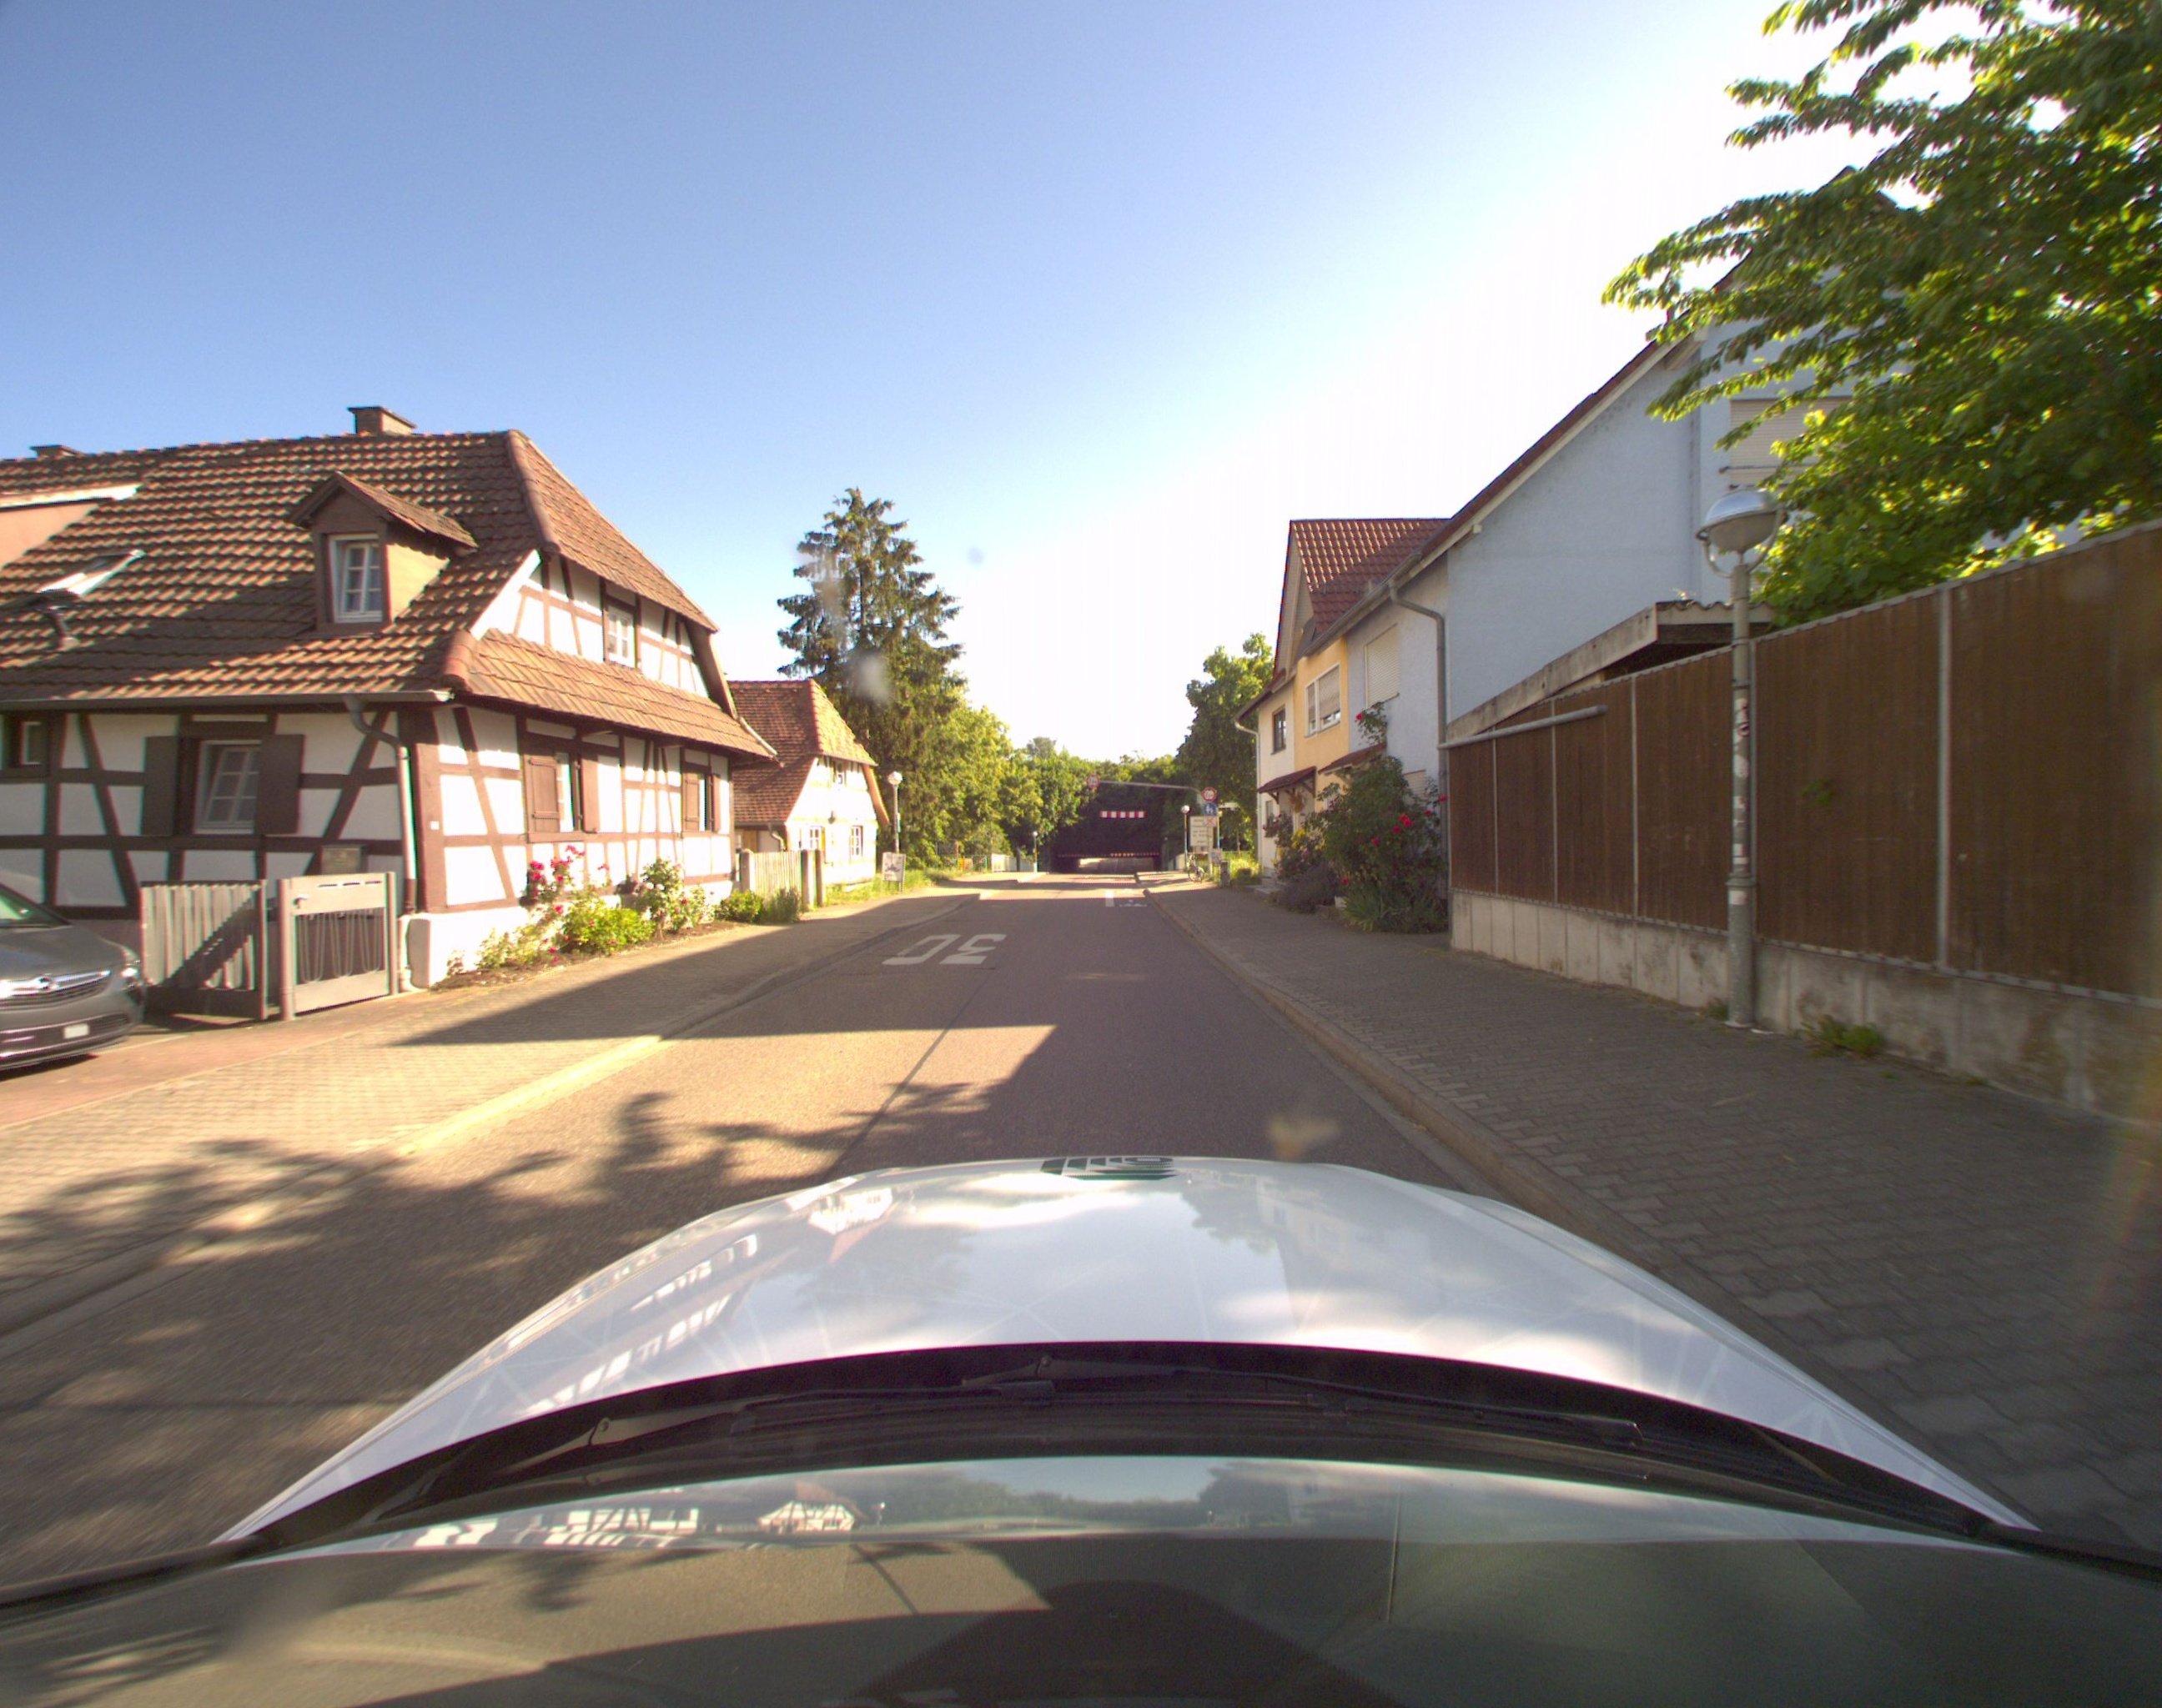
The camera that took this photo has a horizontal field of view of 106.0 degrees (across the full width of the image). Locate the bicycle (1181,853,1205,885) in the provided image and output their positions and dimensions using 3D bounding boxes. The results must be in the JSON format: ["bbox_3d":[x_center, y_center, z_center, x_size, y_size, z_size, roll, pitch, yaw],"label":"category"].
[{"bbox_3d":[4.408,0.577,32.190,0.686,1.157,1.540,-5,0,1],"label":"bicycle"}]

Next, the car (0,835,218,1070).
[{"bbox_3d":[-9.361,0.738,5.996,4.088,1.592,1.820,-2,-1,1],"label":"car"}]
